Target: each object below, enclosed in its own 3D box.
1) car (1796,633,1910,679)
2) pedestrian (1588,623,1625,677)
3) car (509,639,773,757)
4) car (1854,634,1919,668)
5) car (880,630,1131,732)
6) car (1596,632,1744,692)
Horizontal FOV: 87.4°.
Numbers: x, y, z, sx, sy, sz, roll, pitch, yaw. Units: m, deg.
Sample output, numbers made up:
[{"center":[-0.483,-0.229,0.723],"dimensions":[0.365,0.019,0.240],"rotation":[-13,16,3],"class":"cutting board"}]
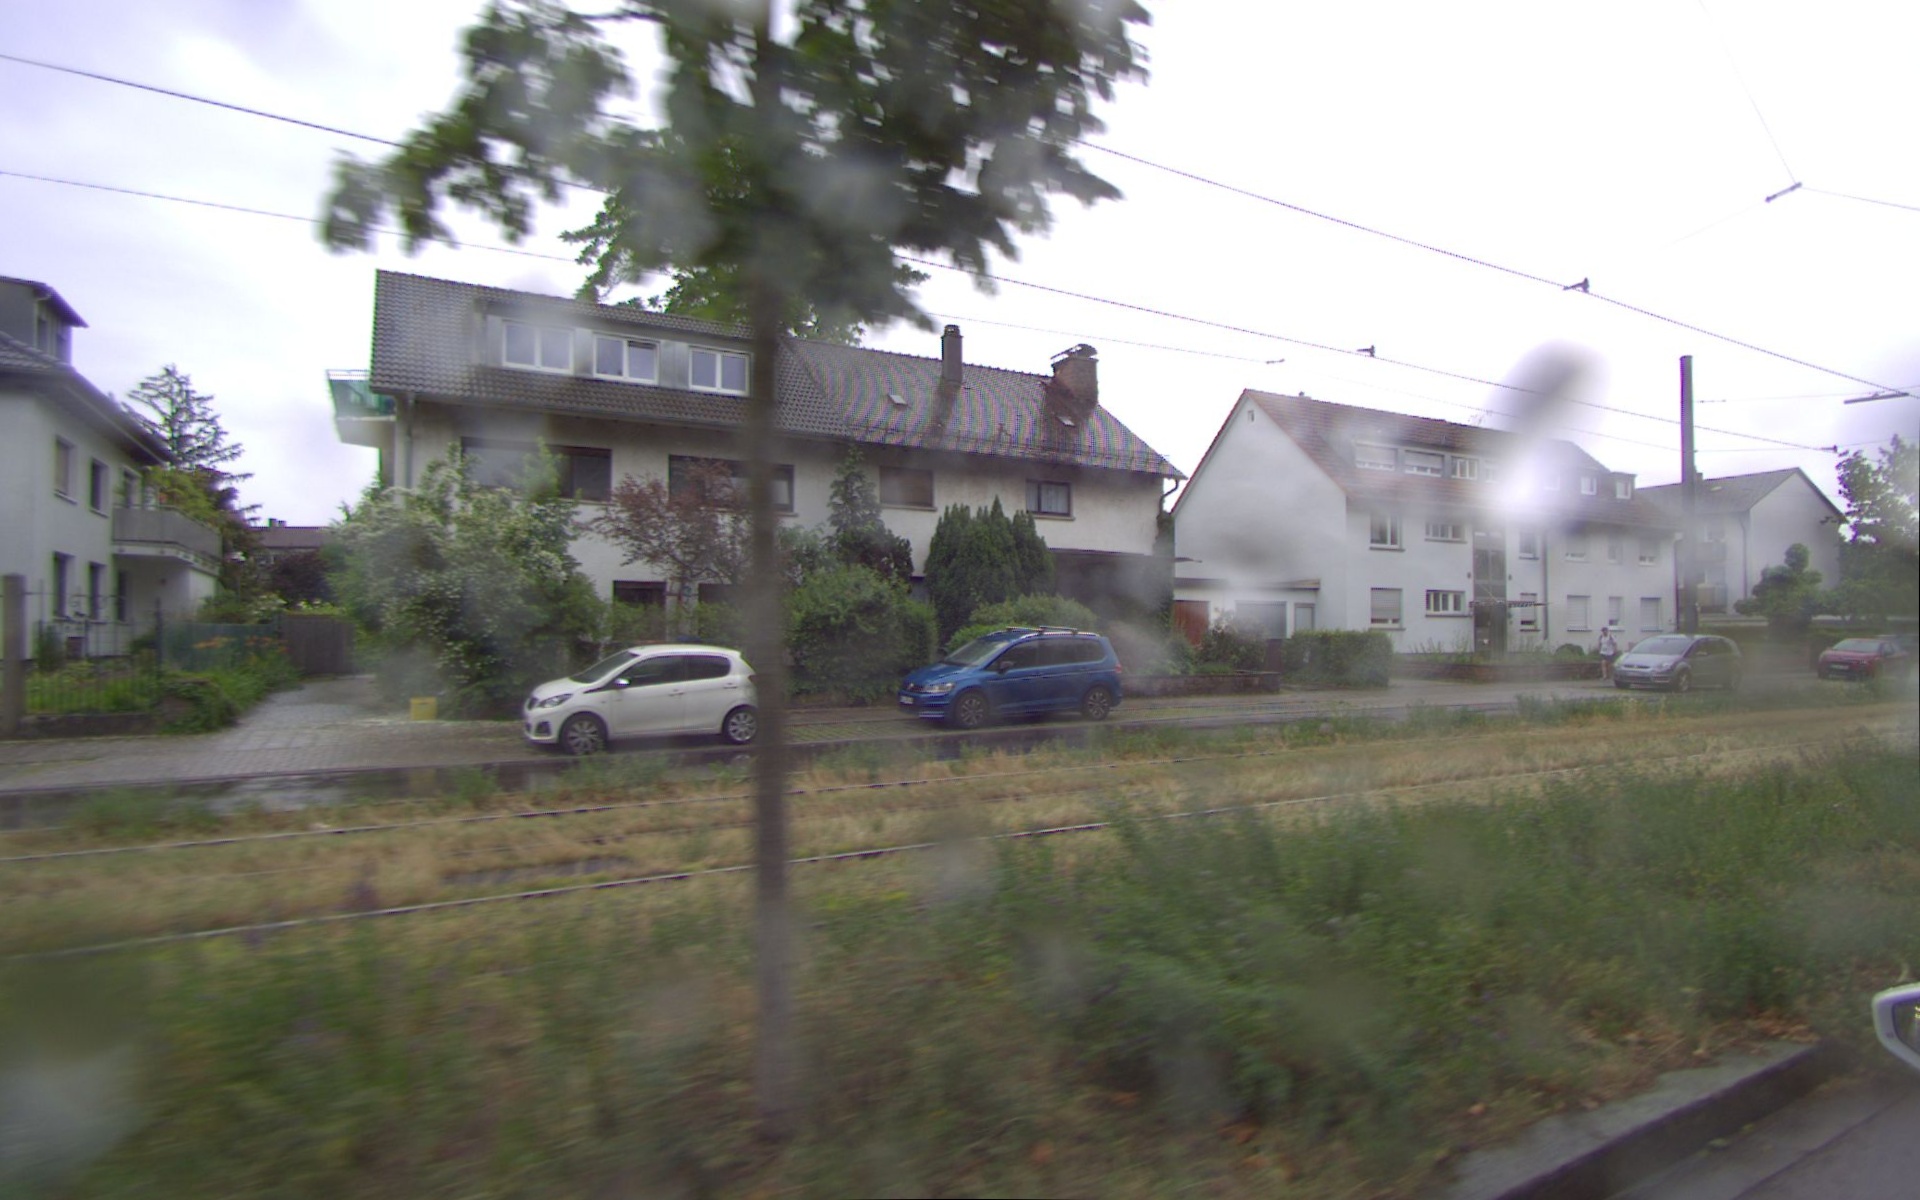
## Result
[{"center":[33.004,2.022,37.111],"dimensions":[4.156,1.508,1.984],"rotation":[1,0,-30],"class":"car"},{"center":[21.574,1.676,33.538],"dimensions":[0.844,1.778,0.699],"rotation":[1,-3,-29],"class":"pedestrian"},{"center":[-4.832,1.392,15.262],"dimensions":[3.554,1.508,1.787],"rotation":[1,0,-30],"class":"car"},{"center":[47.259,2.535,49.820],"dimensions":[1.977,1.638,3.967],"rotation":[1,-3,-31],"class":"car"},{"center":[0.886,1.427,18.897],"dimensions":[4.361,1.635,1.984],"rotation":[1,0,-30],"class":"car"},{"center":[21.345,1.798,30.178],"dimensions":[4.463,1.602,1.984],"rotation":[1,0,-30],"class":"car"}]
